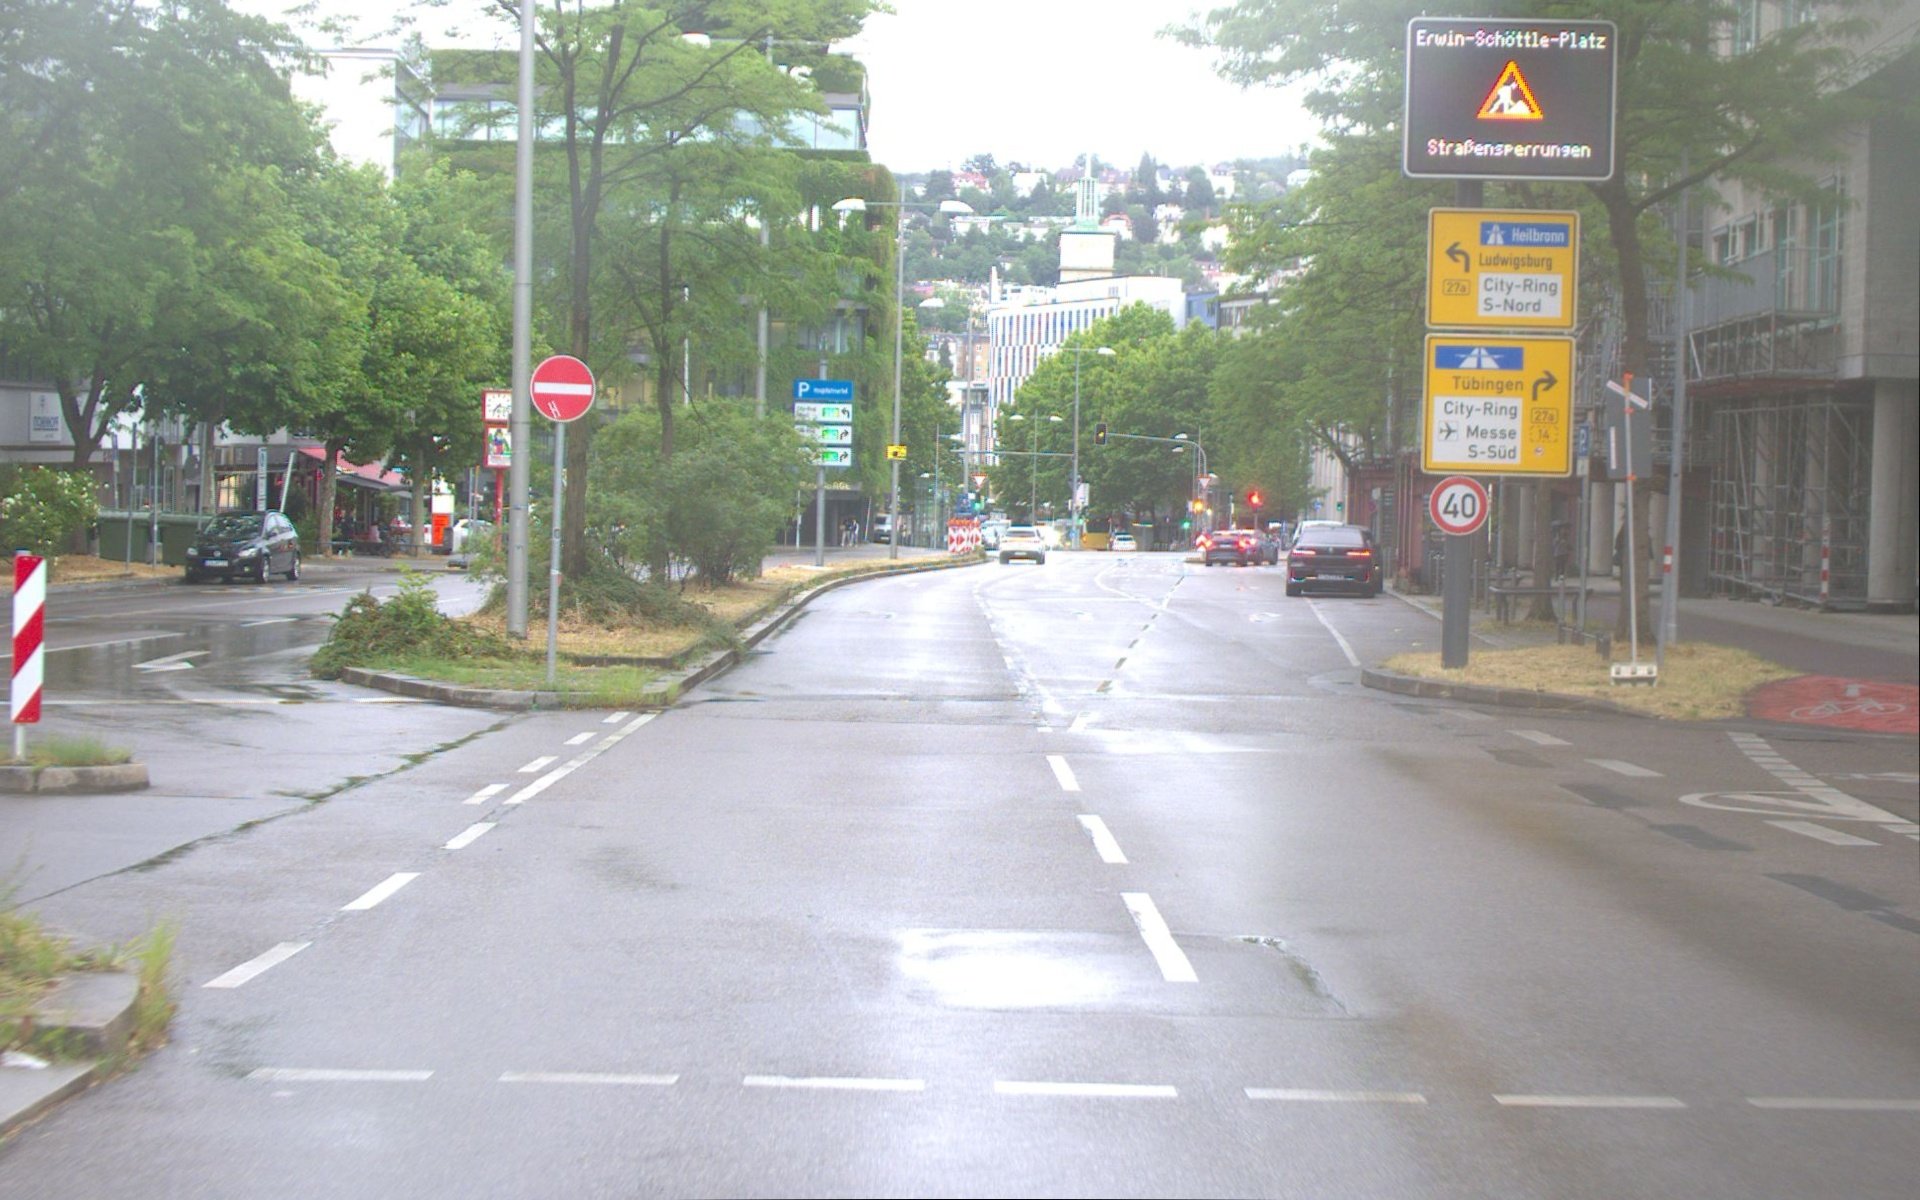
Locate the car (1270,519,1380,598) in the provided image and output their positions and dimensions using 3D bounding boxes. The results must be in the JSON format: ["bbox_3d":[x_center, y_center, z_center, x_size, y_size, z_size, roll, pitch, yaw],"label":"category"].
[{"bbox_3d":[8.117,-0.942,76.334,2.339,1.685,3.999,1,1,7],"label":"car"}]

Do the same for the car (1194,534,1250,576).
[{"bbox_3d":[11.309,-1.939,148.608,1.993,1.718,4.000,1,0,-1],"label":"car"}]

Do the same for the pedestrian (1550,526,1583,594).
[{"bbox_3d":[17.141,-1.125,97.126,0.775,1.914,0.702,1,0,-1],"label":"pedestrian"}]

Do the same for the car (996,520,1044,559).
[{"bbox_3d":[2.598,-2.629,150.136,1.828,1.634,4.301,2,1,-2],"label":"car"}]

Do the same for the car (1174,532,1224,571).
[{"bbox_3d":[11.090,-2.245,159.589,1.993,1.730,4.000,1,0,0],"label":"car"}]
